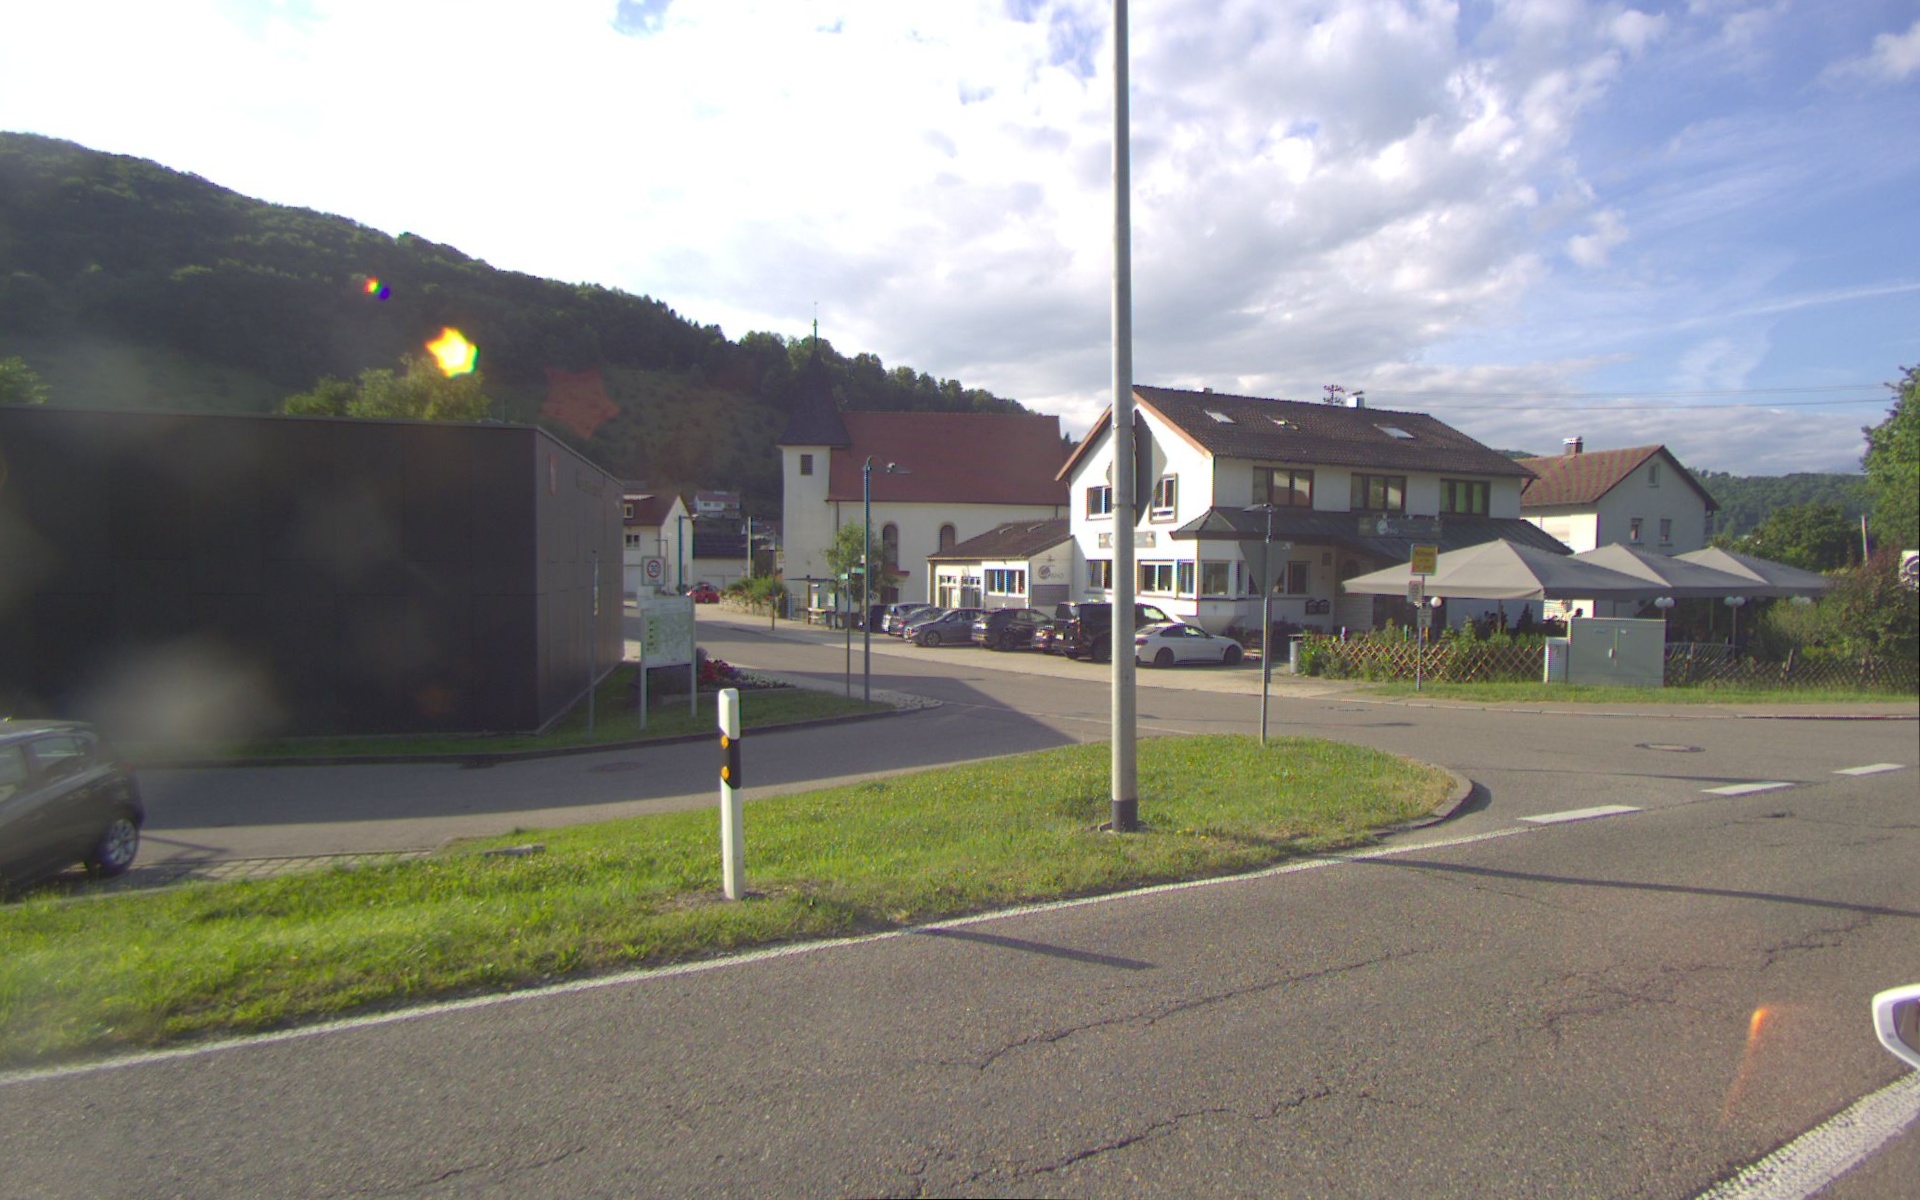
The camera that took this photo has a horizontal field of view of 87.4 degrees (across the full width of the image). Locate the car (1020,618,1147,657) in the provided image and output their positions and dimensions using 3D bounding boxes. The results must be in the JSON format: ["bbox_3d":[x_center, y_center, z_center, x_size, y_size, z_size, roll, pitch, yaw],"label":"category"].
[{"bbox_3d":[4.712,1.420,38.268,4.518,1.408,1.986,1,-1,-27],"label":"car"}]

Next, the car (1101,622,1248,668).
[{"bbox_3d":[7.048,1.448,32.941,4.518,1.408,1.986,1,-1,-27],"label":"car"}]

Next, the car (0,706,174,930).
[{"bbox_3d":[-8.489,1.813,8.063,1.801,1.555,3.992,1,-1,-12],"label":"car"}]

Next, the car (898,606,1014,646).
[{"bbox_3d":[-0.171,1.102,42.316,4.518,1.618,1.986,1,-1,-27],"label":"car"}]

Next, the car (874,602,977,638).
[{"bbox_3d":[-1.652,0.982,48.078,4.518,1.665,1.986,1,-1,-27],"label":"car"}]

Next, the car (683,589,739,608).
[{"bbox_3d":[-19.983,-0.128,80.613,1.972,1.528,3.977,1,0,43],"label":"car"}]

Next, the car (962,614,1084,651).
[{"bbox_3d":[2.545,1.283,40.172,4.518,1.431,1.986,1,-1,-27],"label":"car"}]

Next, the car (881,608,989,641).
[{"bbox_3d":[-1.109,1.097,45.480,4.518,1.431,1.986,1,-1,-27],"label":"car"}]

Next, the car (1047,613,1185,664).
[{"bbox_3d":[5.467,1.326,35.125,4.518,1.707,1.986,1,-1,-27],"label":"car"}]
